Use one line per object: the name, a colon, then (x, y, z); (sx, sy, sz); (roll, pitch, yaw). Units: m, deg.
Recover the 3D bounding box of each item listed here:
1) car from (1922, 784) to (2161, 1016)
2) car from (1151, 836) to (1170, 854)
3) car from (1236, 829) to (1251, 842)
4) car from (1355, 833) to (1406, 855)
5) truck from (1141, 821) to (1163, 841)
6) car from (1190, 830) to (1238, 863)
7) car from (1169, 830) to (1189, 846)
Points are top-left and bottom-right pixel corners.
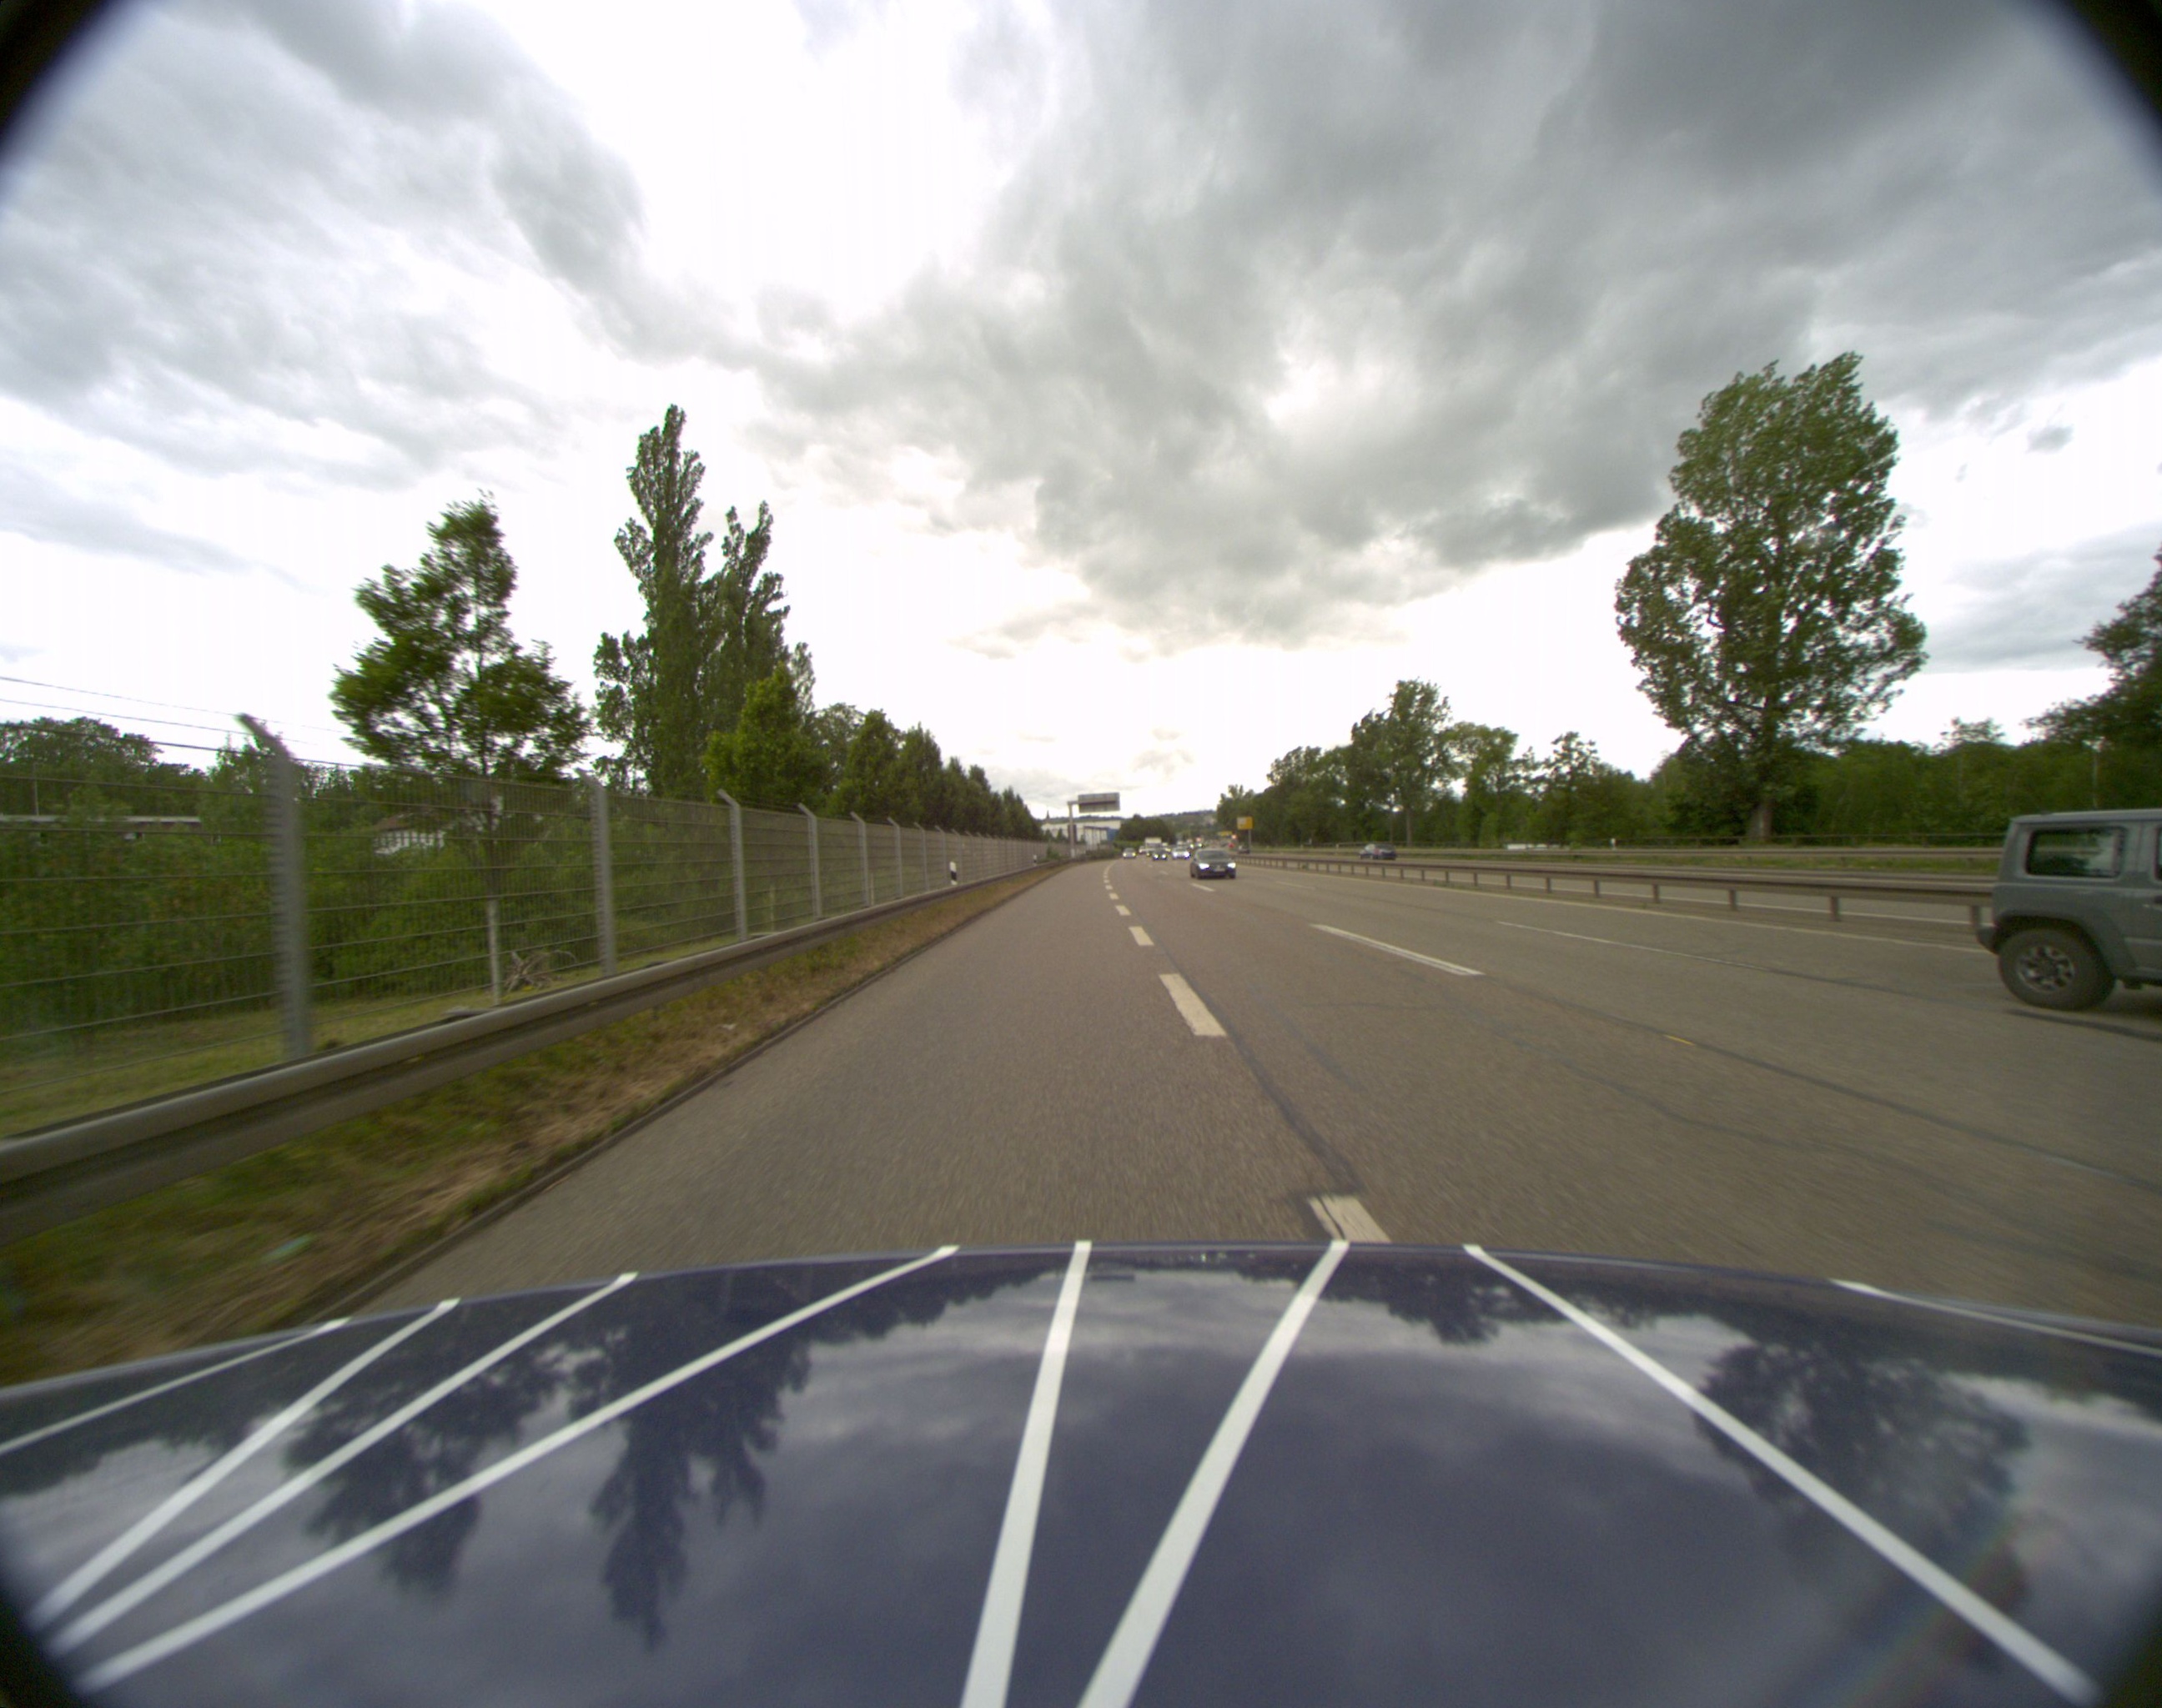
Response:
car: (8.839, 0.330, 5.268); (1.685, 1.726, 3.998); (-1, 1, 3)
car: (9.375, -1.047, 89.788); (1.998, 2.002, 4.001); (-3, 1, 5)
car: (28.627, -3.227, 133.796); (1.997, 2.002, 5.223); (-3, 1, 7)
car: (23.292, -0.778, 59.317); (1.999, 1.600, 4.649); (-3, 1, -1)
truck: (11.764, -3.866, 126.021); (3.039, 3.141, 7.566); (-1, 2, 1)
car: (6.426, -0.361, 37.167); (1.939, 1.492, 4.305); (-1, 1, 5)
car: (12.141, -1.957, 94.190); (1.878, 1.854, 3.999); (-2, 1, 0)
